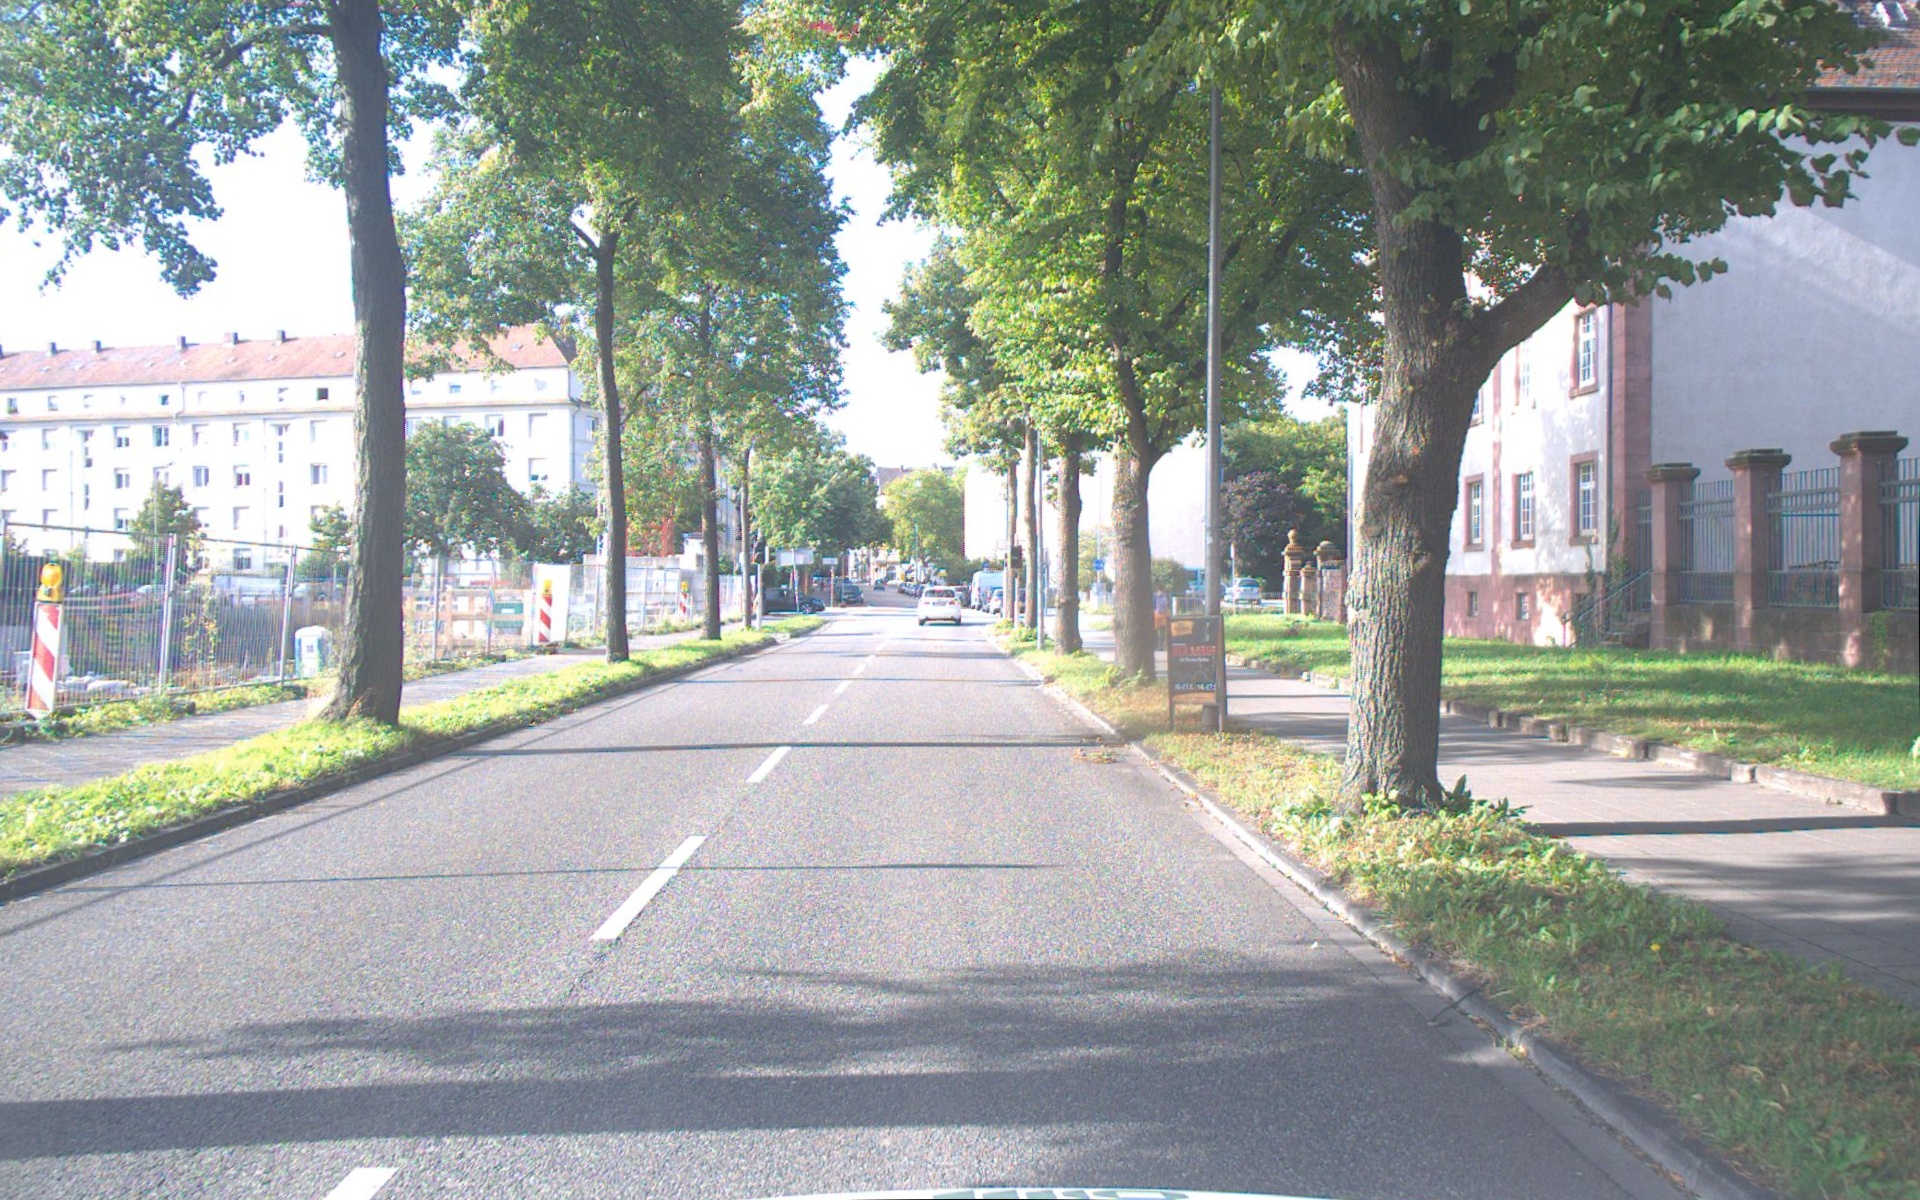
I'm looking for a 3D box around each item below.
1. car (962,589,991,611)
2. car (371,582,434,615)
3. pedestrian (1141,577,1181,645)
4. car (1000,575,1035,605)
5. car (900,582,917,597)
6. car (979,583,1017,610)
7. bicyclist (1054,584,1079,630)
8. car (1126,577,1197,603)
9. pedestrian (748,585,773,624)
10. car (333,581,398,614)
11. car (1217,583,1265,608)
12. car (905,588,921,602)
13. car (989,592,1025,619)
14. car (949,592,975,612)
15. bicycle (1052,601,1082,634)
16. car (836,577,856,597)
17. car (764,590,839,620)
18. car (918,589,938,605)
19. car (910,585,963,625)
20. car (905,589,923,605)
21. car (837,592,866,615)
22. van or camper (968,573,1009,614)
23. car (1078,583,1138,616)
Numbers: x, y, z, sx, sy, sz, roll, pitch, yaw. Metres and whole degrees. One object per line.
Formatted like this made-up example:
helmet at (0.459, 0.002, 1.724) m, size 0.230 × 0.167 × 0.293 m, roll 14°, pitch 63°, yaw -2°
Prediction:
car at (1.181, -0.010, 121.081) m, size 1.953 × 1.601 × 3.999 m, roll -1°, pitch 1°, yaw -2°
car at (-35.073, -0.095, 104.176) m, size 1.951 × 2.049 × 4.003 m, roll 0°, pitch 0°, yaw 14°
pedestrian at (4.899, 0.261, 40.282) m, size 0.797 × 1.618 × 0.769 m, roll -2°, pitch 0°, yaw -2°
car at (3.019, -0.504, 87.591) m, size 1.682 × 1.522 × 4.268 m, roll -1°, pitch 0°, yaw 0°
car at (-6.126, -1.259, 197.755) m, size 1.953 × 1.785 × 3.999 m, roll 1°, pitch 0°, yaw -1°
car at (2.376, -0.216, 104.144) m, size 1.954 × 1.644 × 4.404 m, roll -1°, pitch 1°, yaw -4°
bicyclist at (3.671, 0.238, 57.237) m, size 0.722 × 1.540 × 0.874 m, roll -2°, pitch 0°, yaw -2°
car at (12.853, -0.644, 105.560) m, size 4.355 × 1.650 × 2.001 m, roll -1°, pitch 0°, yaw 2°
pedestrian at (-9.245, 0.204, 76.618) m, size 0.989 × 1.758 × 1.174 m, roll 1°, pitch -1°, yaw -13°
car at (-37.527, -0.165, 104.432) m, size 1.951 × 2.049 × 4.003 m, roll 0°, pitch 0°, yaw 14°
car at (16.887, -0.282, 99.462) m, size 1.954 × 1.467 × 3.997 m, roll -1°, pitch 1°, yaw -4°
car at (-6.229, -0.703, 218.356) m, size 1.953 × 1.785 × 3.999 m, roll 1°, pitch 0°, yaw -1°
car at (2.752, 0.301, 97.321) m, size 1.974 × 1.500 × 4.802 m, roll -1°, pitch 0°, yaw 0°
car at (0.149, 0.148, 131.693) m, size 1.953 × 1.601 × 3.999 m, roll -1°, pitch 1°, yaw -2°
bicycle at (3.689, 0.589, 57.200) m, size 0.725 × 1.053 × 2.761 m, roll -2°, pitch 0°, yaw -2°
car at (-11.901, -1.400, 172.779) m, size 1.953 × 2.049 × 3.999 m, roll -1°, pitch 1°, yaw -2°
car at (-8.874, 0.280, 92.290) m, size 3.926 × 1.598 × 1.990 m, roll 1°, pitch 0°, yaw 40°
car at (-3.315, -0.337, 169.089) m, size 1.953 × 1.601 × 3.999 m, roll -1°, pitch 1°, yaw -2°
car at (-1.025, 0.190, 69.615) m, size 1.954 × 1.582 × 4.270 m, roll 1°, pitch 0°, yaw -4°
car at (-5.195, -0.356, 185.828) m, size 1.953 × 1.785 × 3.999 m, roll 1°, pitch 0°, yaw -1°
car at (-8.265, 0.256, 126.276) m, size 1.956 × 1.668 × 3.994 m, roll -1°, pitch 1°, yaw -7°
van or camper at (1.890, -0.434, 110.167) m, size 2.166 × 2.652 × 5.366 m, roll -1°, pitch 1°, yaw -5°
car at (10.246, -0.045, 114.737) m, size 4.033 × 2.224 × 2.001 m, roll -1°, pitch 0°, yaw 2°
